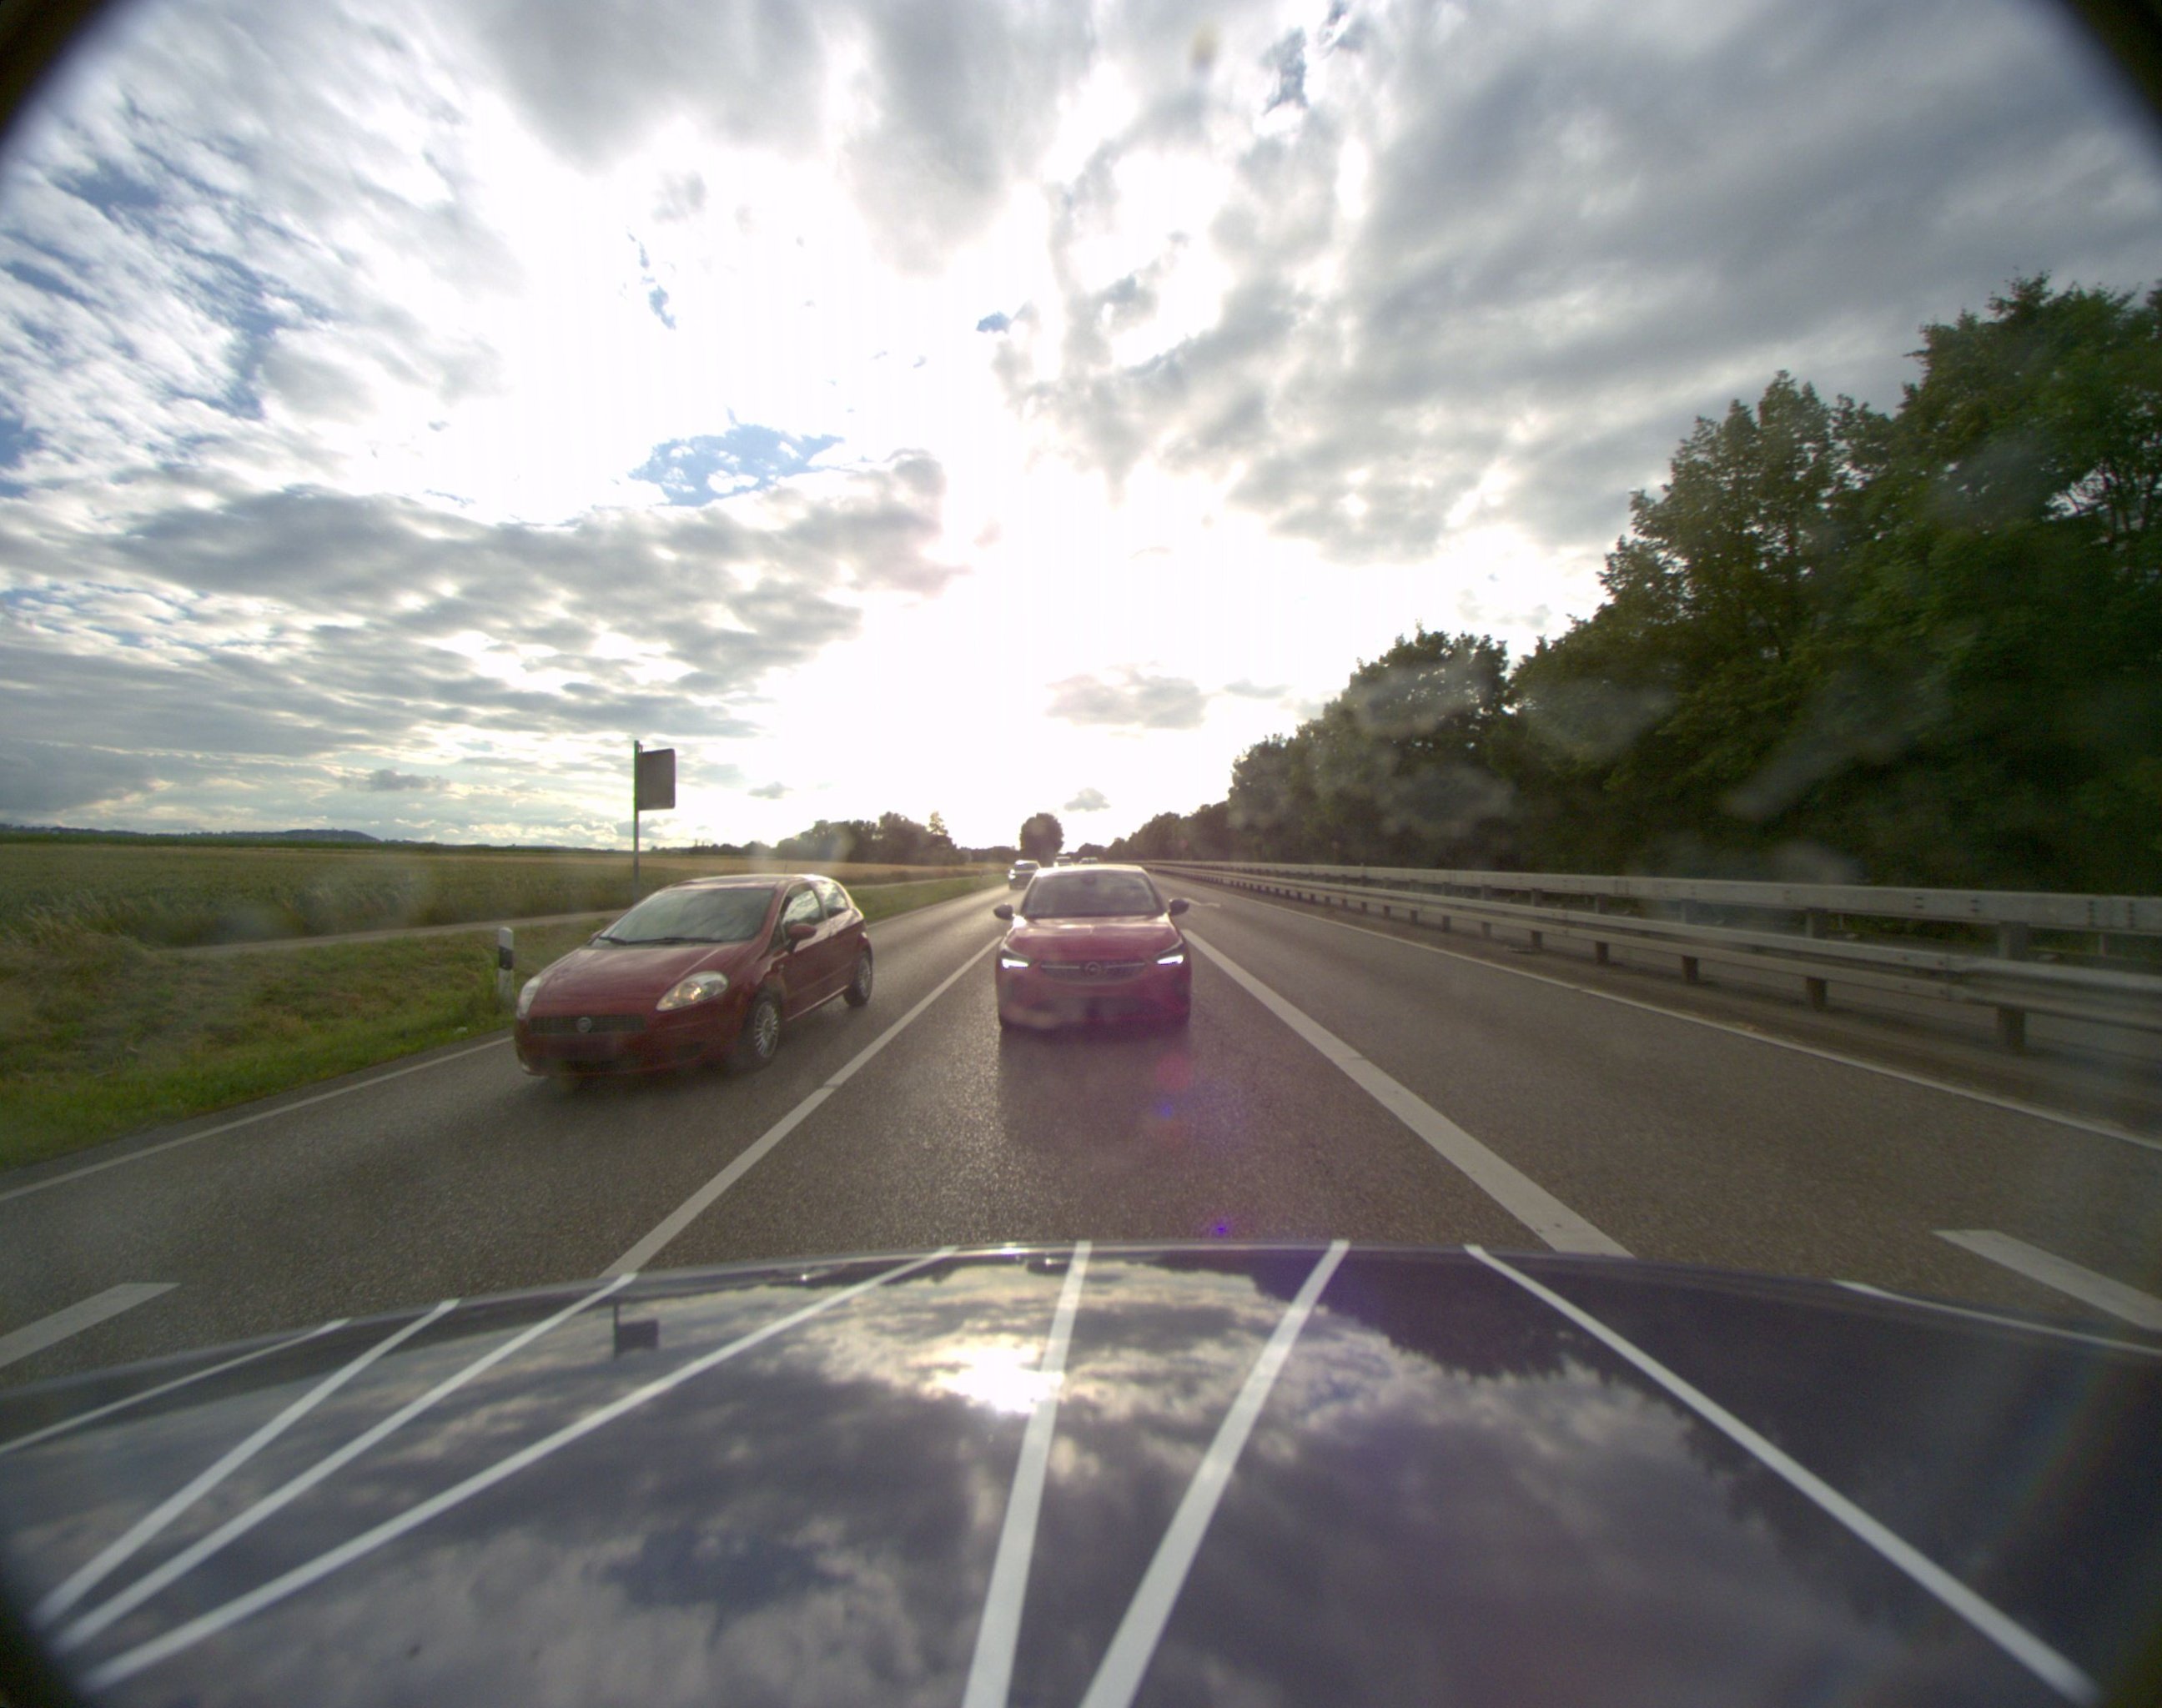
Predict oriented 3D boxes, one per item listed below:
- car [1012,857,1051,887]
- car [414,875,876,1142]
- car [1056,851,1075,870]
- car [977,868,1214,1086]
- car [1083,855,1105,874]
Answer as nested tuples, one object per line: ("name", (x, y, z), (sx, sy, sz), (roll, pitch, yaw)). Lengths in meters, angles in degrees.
("car", (-2.712, 0.961, 42.267), (1.799, 1.448, 4.032), (-2, 1, 1))
("car", (-3.245, 1.027, 6.696), (1.712, 1.448, 3.908), (-2, 1, 1))
("car", (-1.516, 0.624, 76.016), (1.671, 1.730, 4.032), (-2, 1, 1))
("car", (0.137, 0.958, 7.699), (1.712, 1.448, 4.061), (-2, 1, 1))
("car", (1.039, 0.847, 62.466), (1.712, 1.448, 4.061), (-2, 1, 1))
